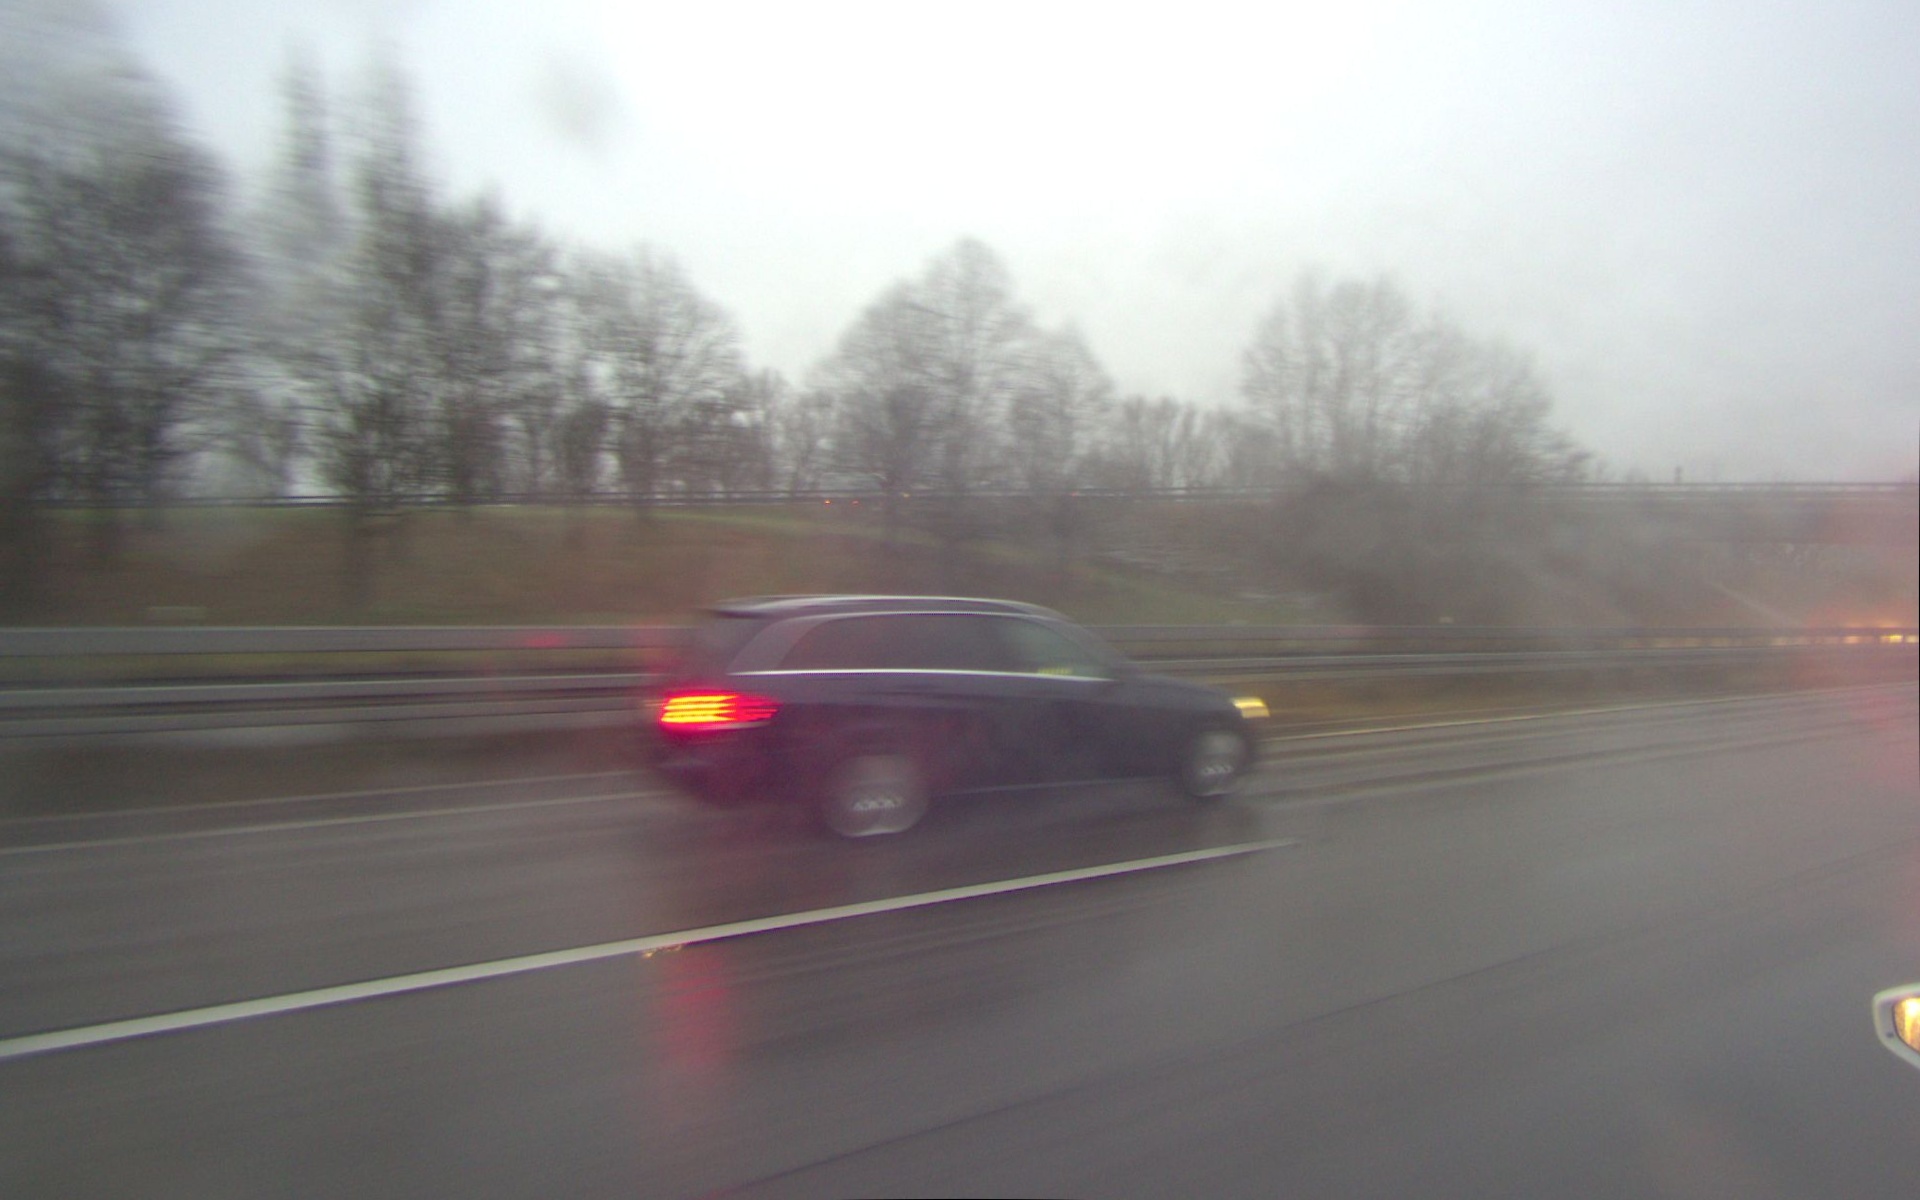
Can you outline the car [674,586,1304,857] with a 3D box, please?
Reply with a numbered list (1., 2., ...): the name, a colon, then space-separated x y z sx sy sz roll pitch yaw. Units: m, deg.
1. car: 0.307 0.725 7.419 4.361 1.487 1.790 0 -3 -30
